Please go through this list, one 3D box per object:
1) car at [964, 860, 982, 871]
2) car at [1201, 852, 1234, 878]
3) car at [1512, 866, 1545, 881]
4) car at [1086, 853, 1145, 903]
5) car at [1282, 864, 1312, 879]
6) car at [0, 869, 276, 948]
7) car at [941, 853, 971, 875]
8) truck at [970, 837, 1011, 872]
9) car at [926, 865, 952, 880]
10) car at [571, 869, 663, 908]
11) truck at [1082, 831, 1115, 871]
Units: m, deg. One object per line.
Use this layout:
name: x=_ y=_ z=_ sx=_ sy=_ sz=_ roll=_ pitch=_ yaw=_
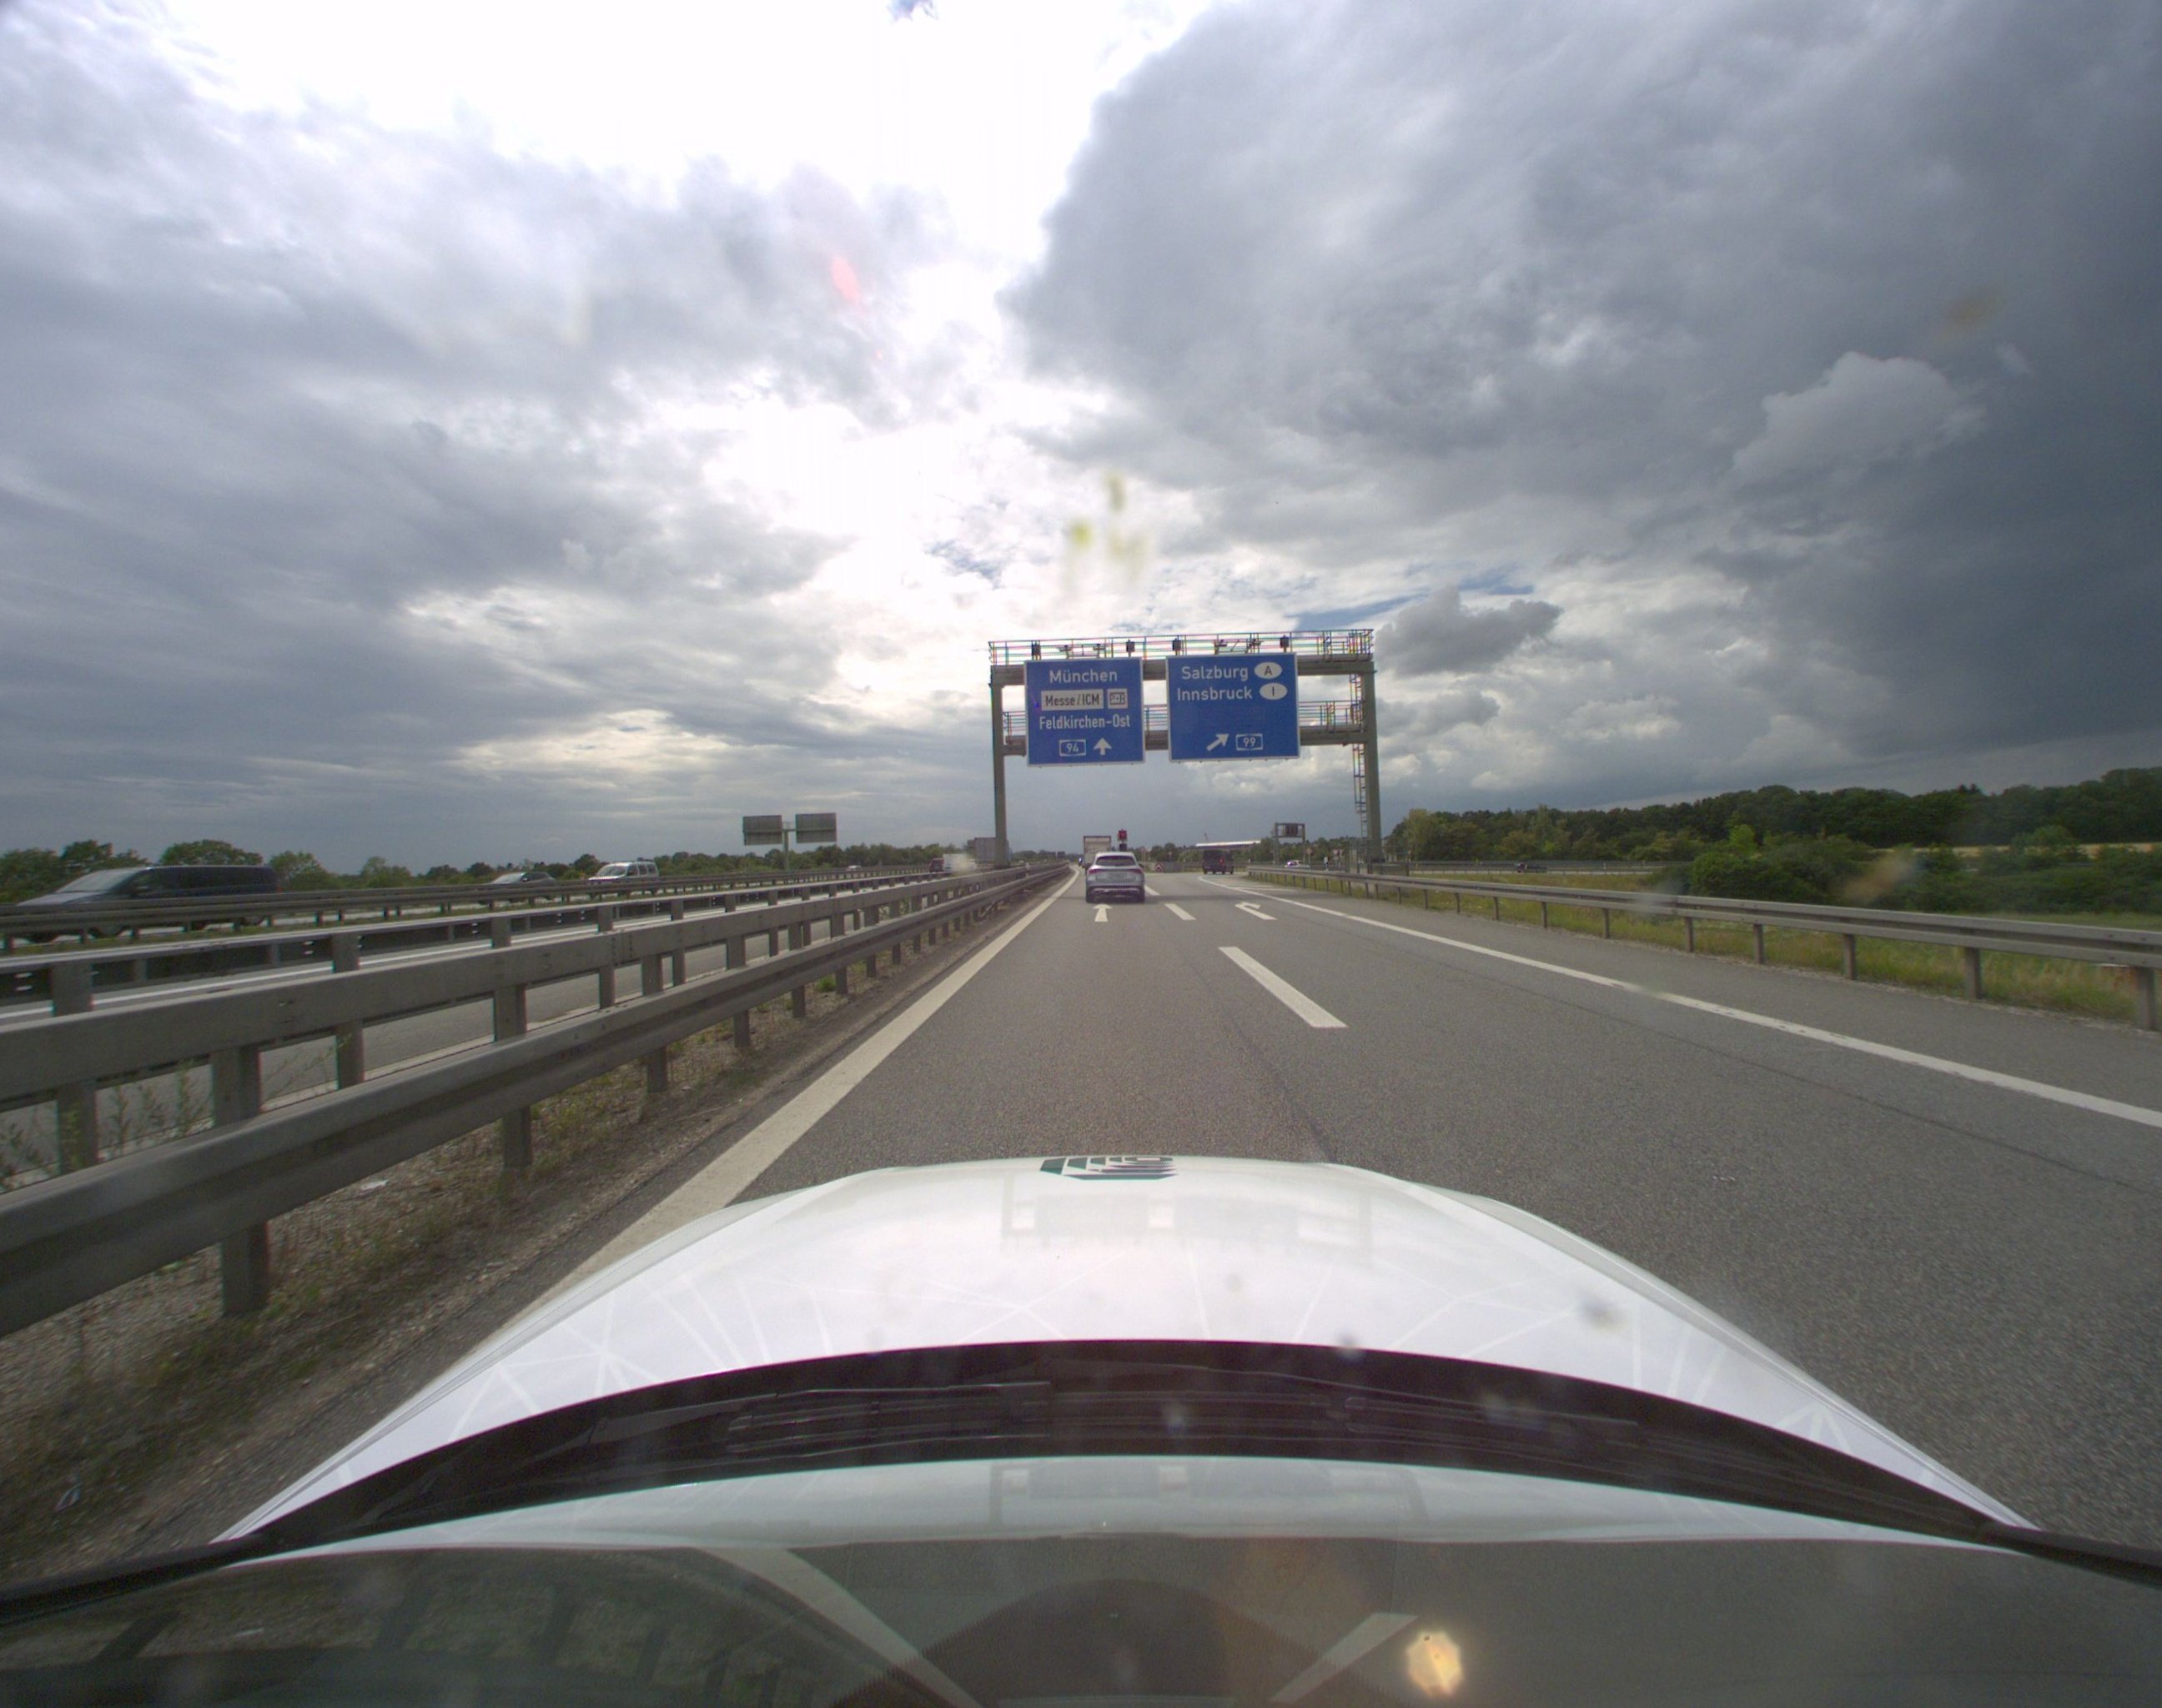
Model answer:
car: x=-14.808 y=1.589 z=111.873 sx=1.792 sy=1.419 sz=4.000 roll=0 pitch=0 yaw=0
car: x=12.763 y=1.000 z=75.882 sx=1.889 sy=2.262 sz=4.675 roll=0 pitch=0 yaw=24
car: x=64.827 y=2.823 z=118.024 sx=3.994 sy=2.013 sz=1.774 roll=3 pitch=0 yaw=-16
car: x=1.142 y=0.739 z=27.139 sx=1.812 sy=1.514 sz=4.002 roll=0 pitch=0 yaw=2
car: x=26.270 y=2.121 z=99.137 sx=1.974 sy=1.709 sz=4.025 roll=0 pitch=1 yaw=41
car: x=-25.367 y=1.352 z=22.196 sx=1.734 sy=1.808 sz=4.906 roll=1 pitch=0 yaw=4
car: x=-11.797 y=0.928 z=76.970 sx=1.986 sy=2.013 sz=4.376 roll=0 pitch=0 yaw=2
truck: x=-11.119 y=-0.023 z=102.014 sx=3.172 sy=4.019 sz=16.076 roll=0 pitch=1 yaw=1
car: x=-15.390 y=1.989 z=88.356 sx=1.874 sy=1.546 sz=4.616 roll=0 pitch=0 yaw=1
car: x=-24.542 y=1.752 z=43.312 sx=1.903 sy=1.794 sz=4.824 roll=3 pitch=0 yaw=1
truck: x=1.474 y=-0.142 z=68.306 sx=2.559 sy=3.126 sz=8.637 roll=0 pitch=-1 yaw=2
